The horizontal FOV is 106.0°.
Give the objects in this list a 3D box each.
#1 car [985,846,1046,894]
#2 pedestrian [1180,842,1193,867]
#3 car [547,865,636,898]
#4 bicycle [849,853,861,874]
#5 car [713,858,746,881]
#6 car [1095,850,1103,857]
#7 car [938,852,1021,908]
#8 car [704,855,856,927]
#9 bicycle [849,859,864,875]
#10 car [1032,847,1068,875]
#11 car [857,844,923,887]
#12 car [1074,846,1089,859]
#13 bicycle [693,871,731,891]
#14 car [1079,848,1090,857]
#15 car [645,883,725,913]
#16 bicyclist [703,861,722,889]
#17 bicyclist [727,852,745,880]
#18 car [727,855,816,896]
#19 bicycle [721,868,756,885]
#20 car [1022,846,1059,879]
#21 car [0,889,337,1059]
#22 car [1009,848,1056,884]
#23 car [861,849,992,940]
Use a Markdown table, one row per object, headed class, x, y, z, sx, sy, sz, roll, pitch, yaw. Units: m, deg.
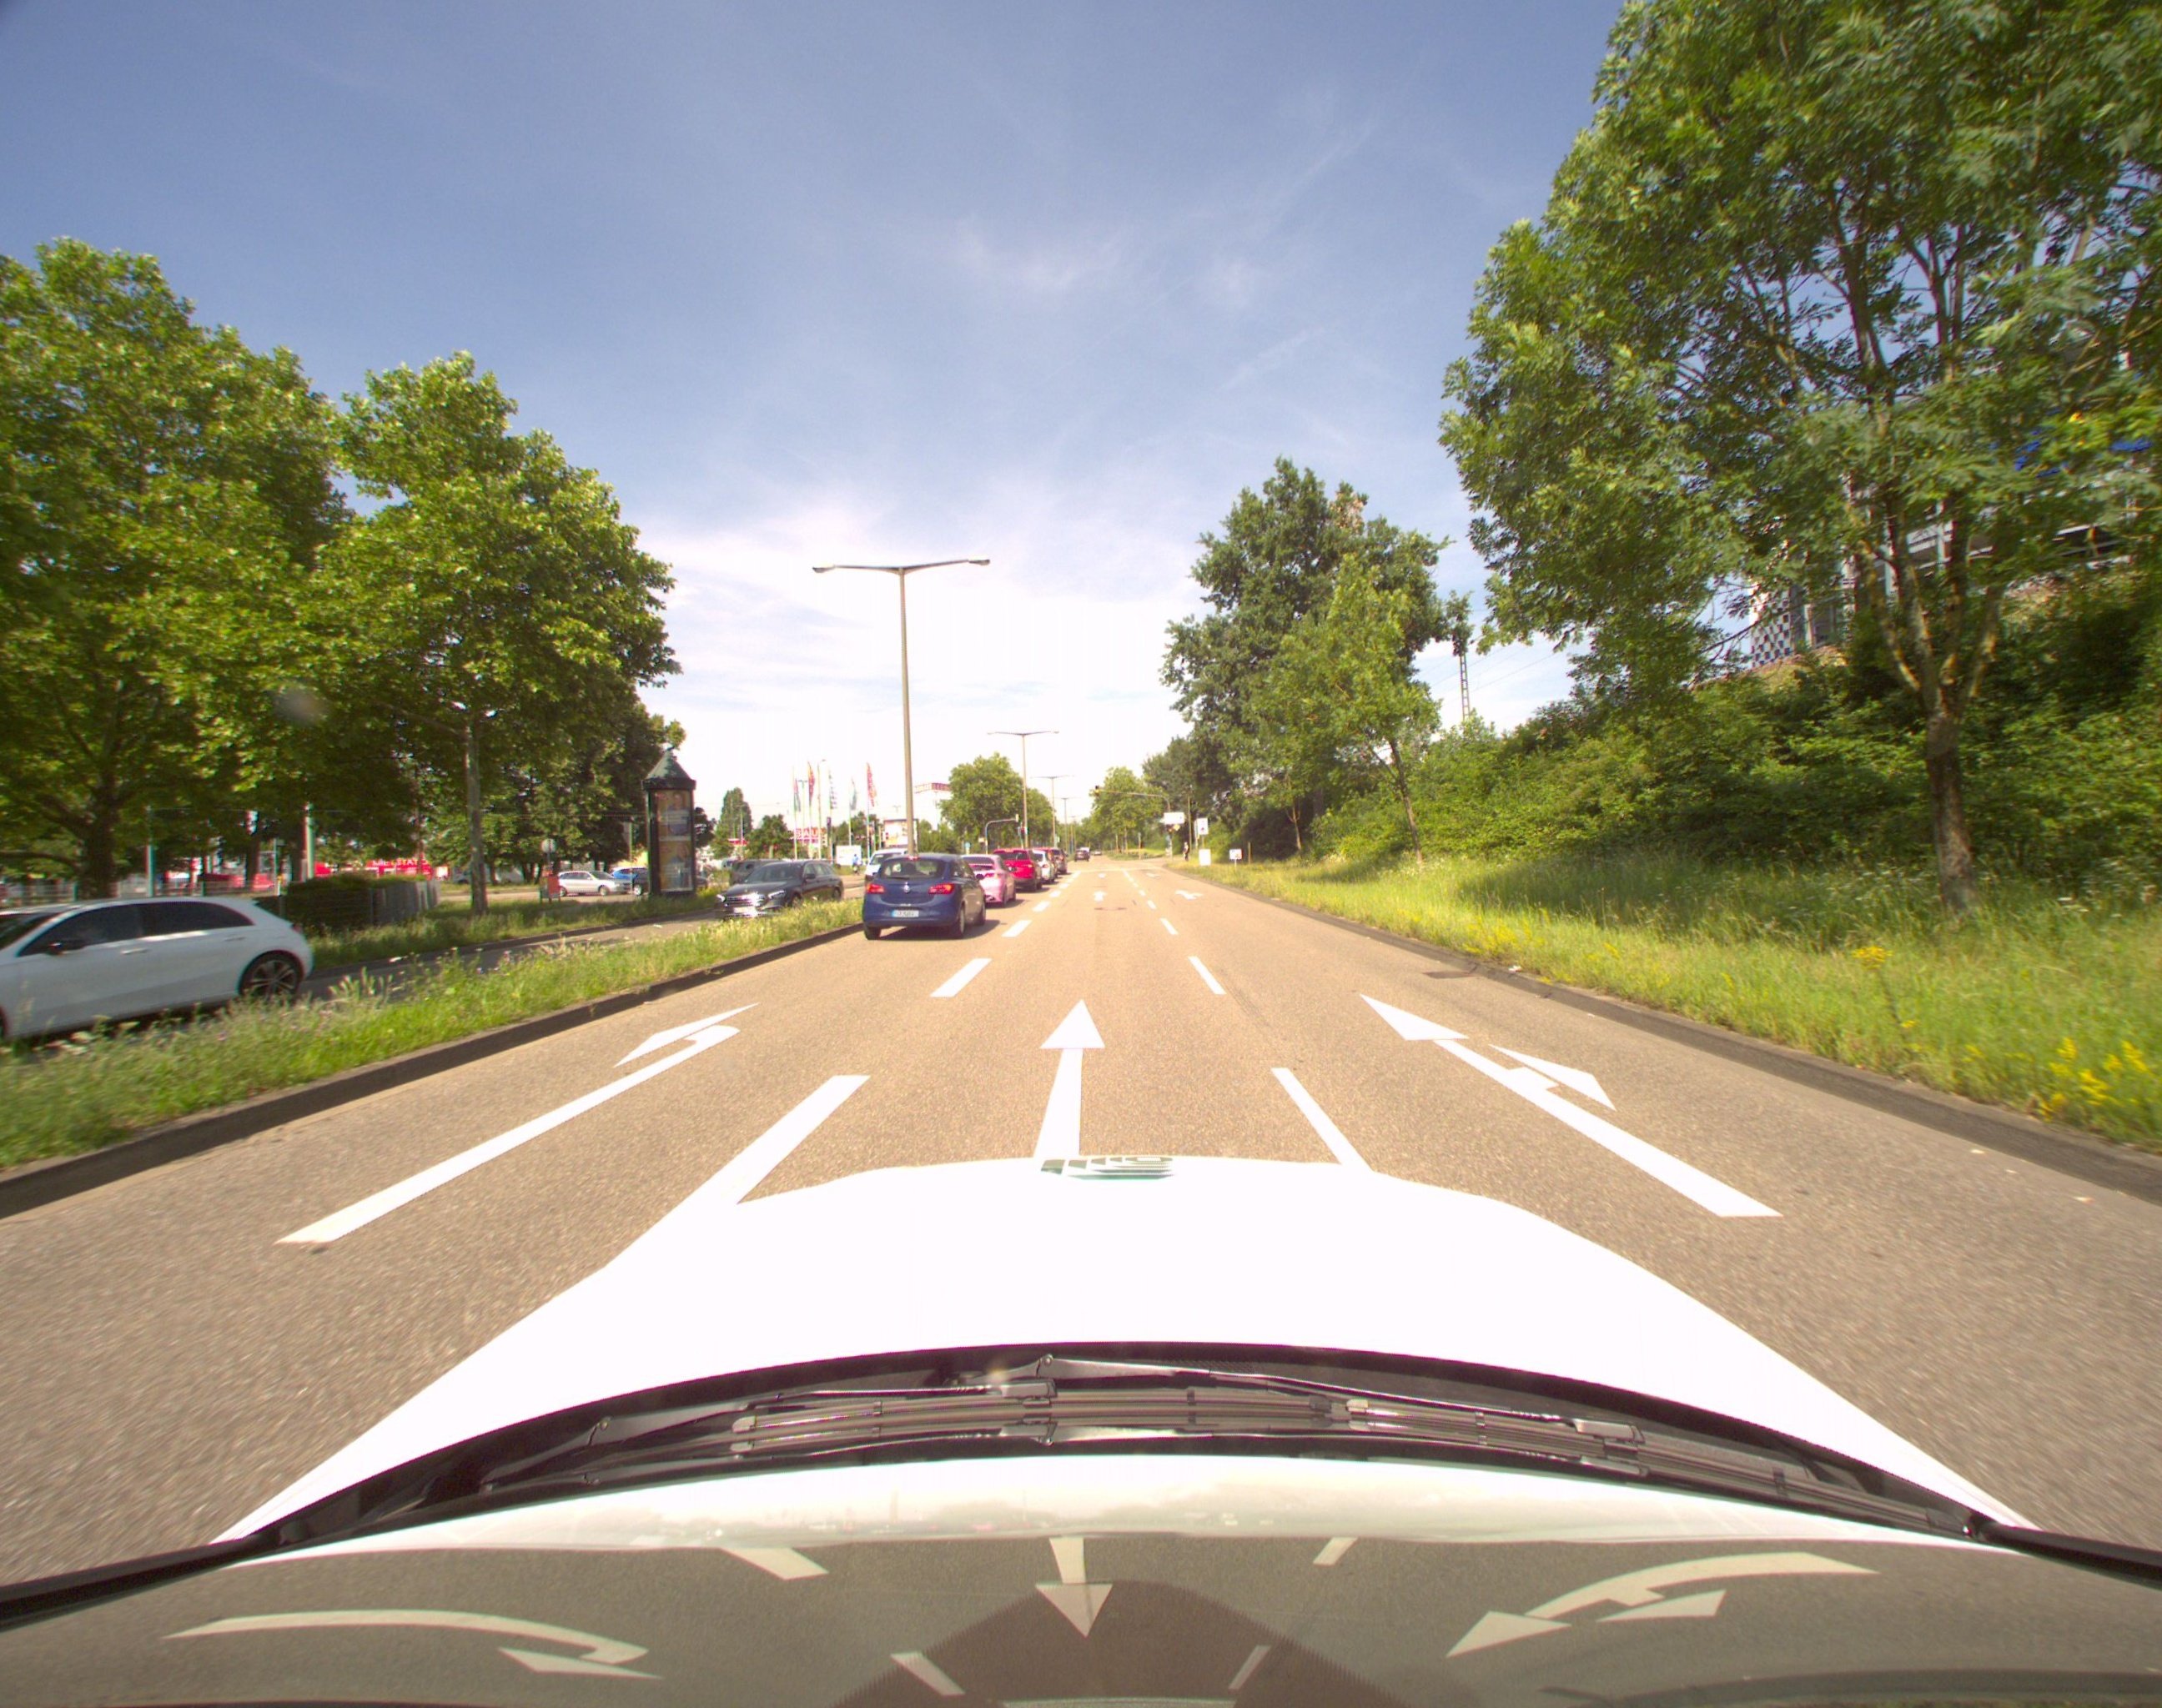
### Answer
| class | x | y | z | sx | sy | sz | roll | pitch | yaw |
| --- | --- | --- | --- | --- | --- | --- | --- | --- | --- |
| car | -2.363 | 0.535 | 30.274 | 1.776 | 1.593 | 4.594 | -1 | 0 | 1 |
| pedestrian | 8.194 | 0.016 | 63.427 | 0.835 | 1.932 | 0.771 | -2 | 2 | -2 |
| car | -27.064 | 1.522 | 45.040 | 4.121 | 1.603 | 1.729 | -3 | 0 | 13 |
| bicycle | -18.003 | 0.748 | 64.971 | 0.671 | 1.615 | 0.991 | -3 | 0 | -4 |
| car | -40.471 | 1.779 | 93.602 | 2.011 | 2.532 | 4.583 | -3 | 0 | -42 |
| car | 4.256 | -0.159 | 194.482 | 1.861 | 1.574 | 4.002 | -3 | 0 | 2 |
| car | -2.756 | 0.655 | 23.070 | 1.696 | 1.390 | 4.473 | -1 | 0 | 1 |
| car | -7.534 | 0.840 | 20.975 | 1.986 | 1.530 | 4.684 | -3 | 0 | 2 |
| bicycle | -17.978 | 1.040 | 65.203 | 0.671 | 1.256 | 2.244 | -3 | 0 | -4 |
| car | -1.852 | 0.410 | 49.698 | 1.875 | 1.618 | 4.213 | -2 | 0 | 1 |
| car | -9.780 | 0.526 | 42.223 | 1.986 | 2.013 | 5.215 | -3 | 0 | 1 |
| car | 0.107 | -0.229 | 107.662 | 1.730 | 1.535 | 4.003 | -2 | 2 | 2 |
| bicycle | -23.088 | 1.671 | 50.924 | 2.019 | 1.039 | 0.736 | -3 | 3 | -35 |
| car | 0.645 | -0.338 | 164.290 | 1.986 | 1.708 | 4.265 | -2 | 0 | 2 |
| car | -21.080 | 2.338 | 43.367 | 3.949 | 1.388 | 1.776 | -2 | 1 | 28 |
| bicyclist | -23.047 | 1.296 | 50.960 | 0.904 | 1.646 | 0.780 | -3 | 3 | -35 |
| bicyclist | -22.276 | 0.768 | 52.555 | 0.904 | 1.715 | 0.774 | -3 | 3 | -35 |
| car | -14.834 | 1.051 | 38.961 | 4.342 | 1.750 | 1.881 | -3 | 0 | 38 |
| bicycle | -22.129 | 1.439 | 52.663 | 1.962 | 0.983 | 0.781 | -3 | 3 | -35 |
| car | -2.107 | 0.440 | 43.038 | 1.623 | 1.595 | 3.918 | -2 | -1 | 1 |
| car | -10.639 | 1.205 | 8.397 | 1.780 | 1.398 | 4.360 | -3 | 0 | 2 |
| car | -2.121 | 0.493 | 36.538 | 1.760 | 1.479 | 4.136 | -1 | 0 | 1 |
| car | -2.775 | 0.663 | 15.452 | 1.620 | 1.483 | 4.049 | 0 | 0 | 1 |
